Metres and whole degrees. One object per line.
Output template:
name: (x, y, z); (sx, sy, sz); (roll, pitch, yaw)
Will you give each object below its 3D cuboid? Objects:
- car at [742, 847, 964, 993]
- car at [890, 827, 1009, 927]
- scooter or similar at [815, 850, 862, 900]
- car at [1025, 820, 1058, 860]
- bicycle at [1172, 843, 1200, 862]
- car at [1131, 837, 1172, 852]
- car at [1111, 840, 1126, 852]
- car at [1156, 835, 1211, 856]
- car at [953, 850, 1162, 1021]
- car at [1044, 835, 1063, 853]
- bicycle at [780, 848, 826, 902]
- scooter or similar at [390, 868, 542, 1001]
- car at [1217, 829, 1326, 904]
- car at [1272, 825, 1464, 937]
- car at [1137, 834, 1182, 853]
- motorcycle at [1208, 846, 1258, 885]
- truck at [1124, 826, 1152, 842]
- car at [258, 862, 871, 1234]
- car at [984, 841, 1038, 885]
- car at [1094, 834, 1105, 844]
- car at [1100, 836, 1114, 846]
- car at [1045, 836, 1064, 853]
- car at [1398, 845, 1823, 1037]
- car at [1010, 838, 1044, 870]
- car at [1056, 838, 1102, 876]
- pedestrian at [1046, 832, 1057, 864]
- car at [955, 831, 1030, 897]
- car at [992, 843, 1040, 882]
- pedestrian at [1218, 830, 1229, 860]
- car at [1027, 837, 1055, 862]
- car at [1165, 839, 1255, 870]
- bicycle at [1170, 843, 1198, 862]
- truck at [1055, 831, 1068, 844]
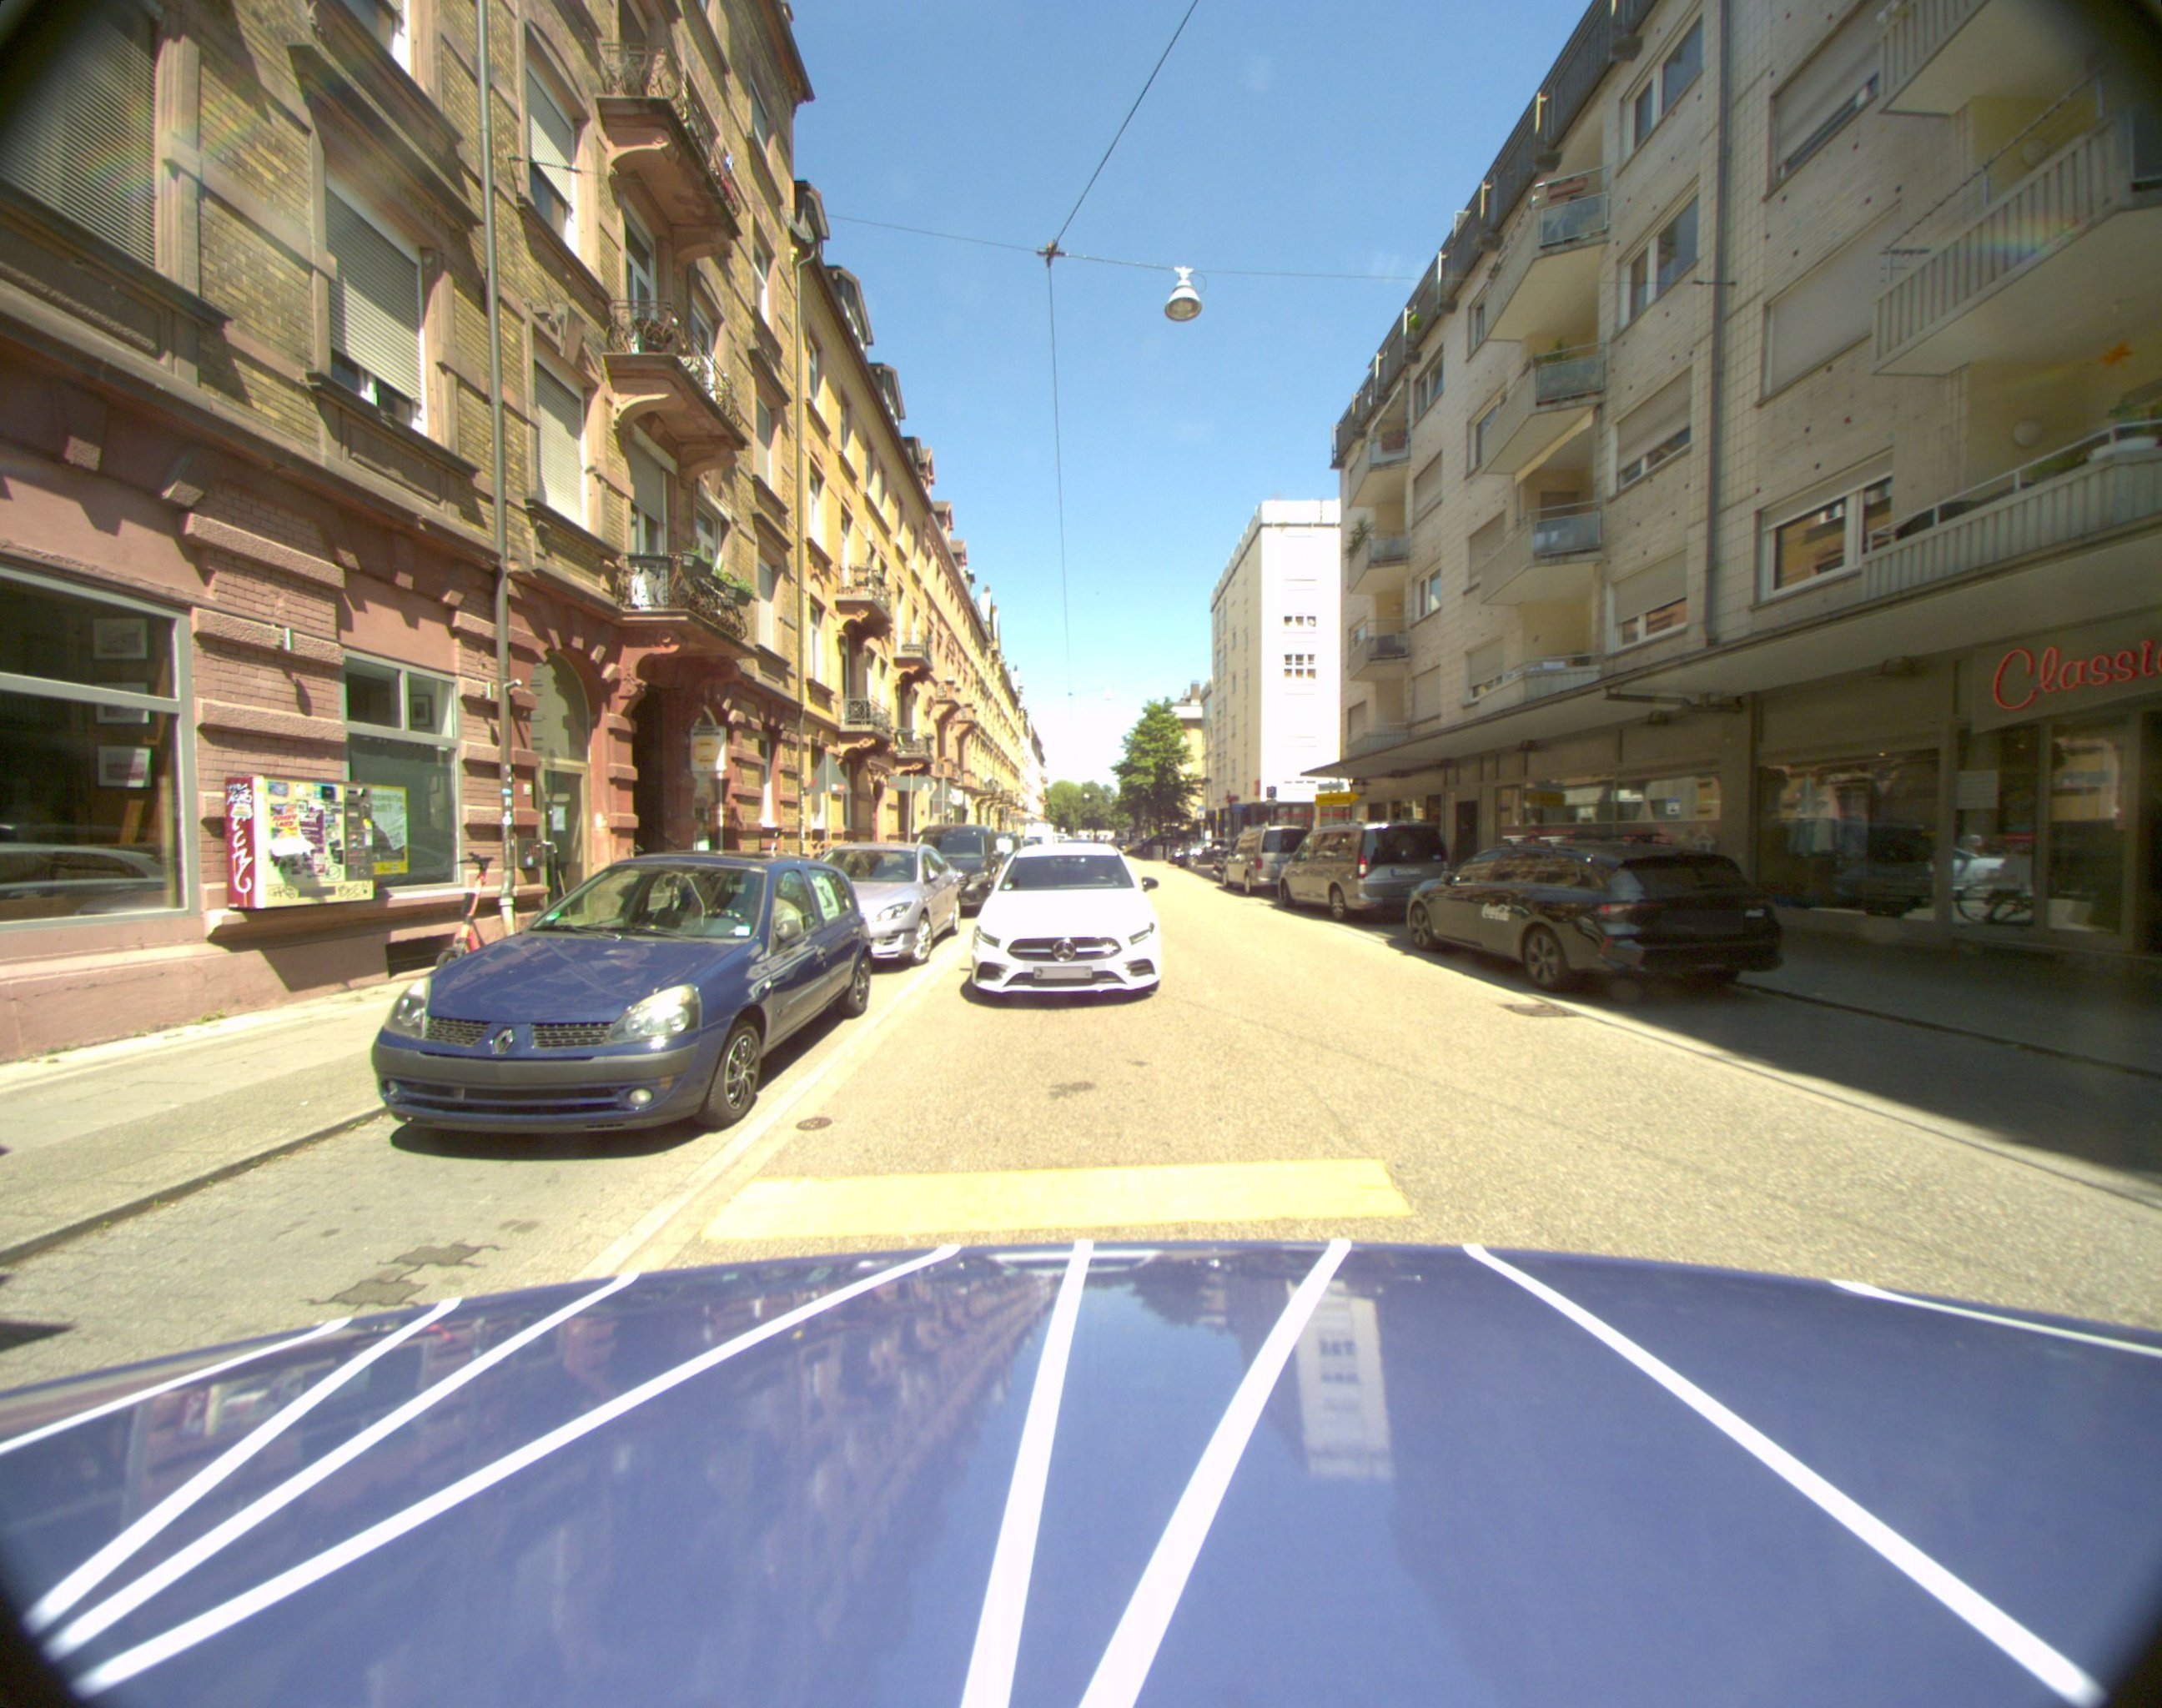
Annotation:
car: (-2.726, 0.676, 10.171); (1.730, 1.424, 4.483); (1, 2, -2)
car: (-2.572, 0.360, 15.805); (1.829, 1.757, 4.336); (1, 2, -2)
scooter or similar: (-6.090, 0.504, 19.182); (0.478, 1.146, 2.148); (-1, 1, 0)
car: (-2.794, -1.049, 54.814); (2.068, 2.687, 5.037); (-2, 2, 0)
bicycle: (6.441, -0.107, 46.598); (1.608, 1.084, 0.371); (-2, 2, 5)
car: (6.864, -0.967, 74.652); (3.885, 1.487, 1.651); (0, 2, -1)
car: (5.277, -1.102, 107.235); (1.998, 1.505, 3.999); (-2, 2, 0)
car: (7.598, -0.619, 56.491); (3.885, 1.520, 1.651); (0, 2, -1)
car: (-0.201, 0.704, 8.747); (1.814, 1.417, 4.240); (0, 1, 0)
car: (-2.554, -0.964, 70.150); (1.682, 1.528, 3.998); (-1, 2, -3)
bicycle: (-6.088, 0.425, 16.696); (0.354, 1.097, 1.755); (0, 2, 0)
scooter or similar: (-6.110, 0.754, 7.625); (0.293, 1.170, 1.272); (0, 2, 9)
car: (5.192, 0.255, 21.371); (1.793, 1.818, 4.899); (-1, 1, 0)
car: (5.366, 0.399, 14.968); (1.793, 1.801, 4.696); (-1, 1, -3)
car: (7.140, -0.951, 69.074); (3.885, 1.737, 1.651); (0, 2, -1)
motorcycle: (5.065, 0.374, 25.366); (1.552, 1.277, 0.394); (0, 3, 32)
truck: (11.596, -4.096, 154.240); (4.964, 3.271, 2.758); (-1, 2, -28)
car: (-2.646, 0.840, 5.009); (1.632, 1.424, 3.658); (1, 2, -2)
car: (-2.553, 0.271, 27.622); (1.766, 1.441, 3.902); (-1, 2, -6)
car: (3.359, -2.761, 138.108); (1.998, 1.674, 3.999); (-2, 2, 0)
car: (3.913, -2.014, 116.210); (1.998, 1.505, 3.999); (-2, 2, 0)
car: (-2.213, -0.826, 63.164); (1.533, 1.293, 3.684); (-1, 2, -3)
car: (5.318, 0.695, 8.526); (1.674, 1.516, 4.463); (-1, 1, 0)
car: (-2.671, -0.037, 38.325); (1.603, 1.454, 3.688); (-1, 2, -3)
car: (-0.063, 0.076, 32.141); (1.780, 1.460, 3.999); (-2, 2, 0)
pedestrian: (-1.801, -0.380, 46.154); (0.635, 1.903, 0.370); (0, 2, 0)
car: (-2.491, 0.209, 22.257); (1.706, 1.724, 3.999); (-1, 2, 0)
car: (-2.680, 0.322, 32.301); (1.830, 1.452, 3.998); (-1, 2, -2)
pedestrian: (10.168, -0.654, 54.287); (0.608, 2.113, 0.496); (1, 2, 35)
car: (-2.597, -0.307, 49.162); (1.682, 1.528, 3.998); (-1, 2, -3)
car: (6.146, -0.005, 36.434); (3.891, 1.417, 1.813); (0, 1, -8)
bicycle: (6.144, -0.114, 45.460); (1.608, 1.084, 0.371); (-2, 2, 5)
truck: (-2.998, -2.523, 118.170); (1.998, 2.002, 4.901); (0, 1, 0)
